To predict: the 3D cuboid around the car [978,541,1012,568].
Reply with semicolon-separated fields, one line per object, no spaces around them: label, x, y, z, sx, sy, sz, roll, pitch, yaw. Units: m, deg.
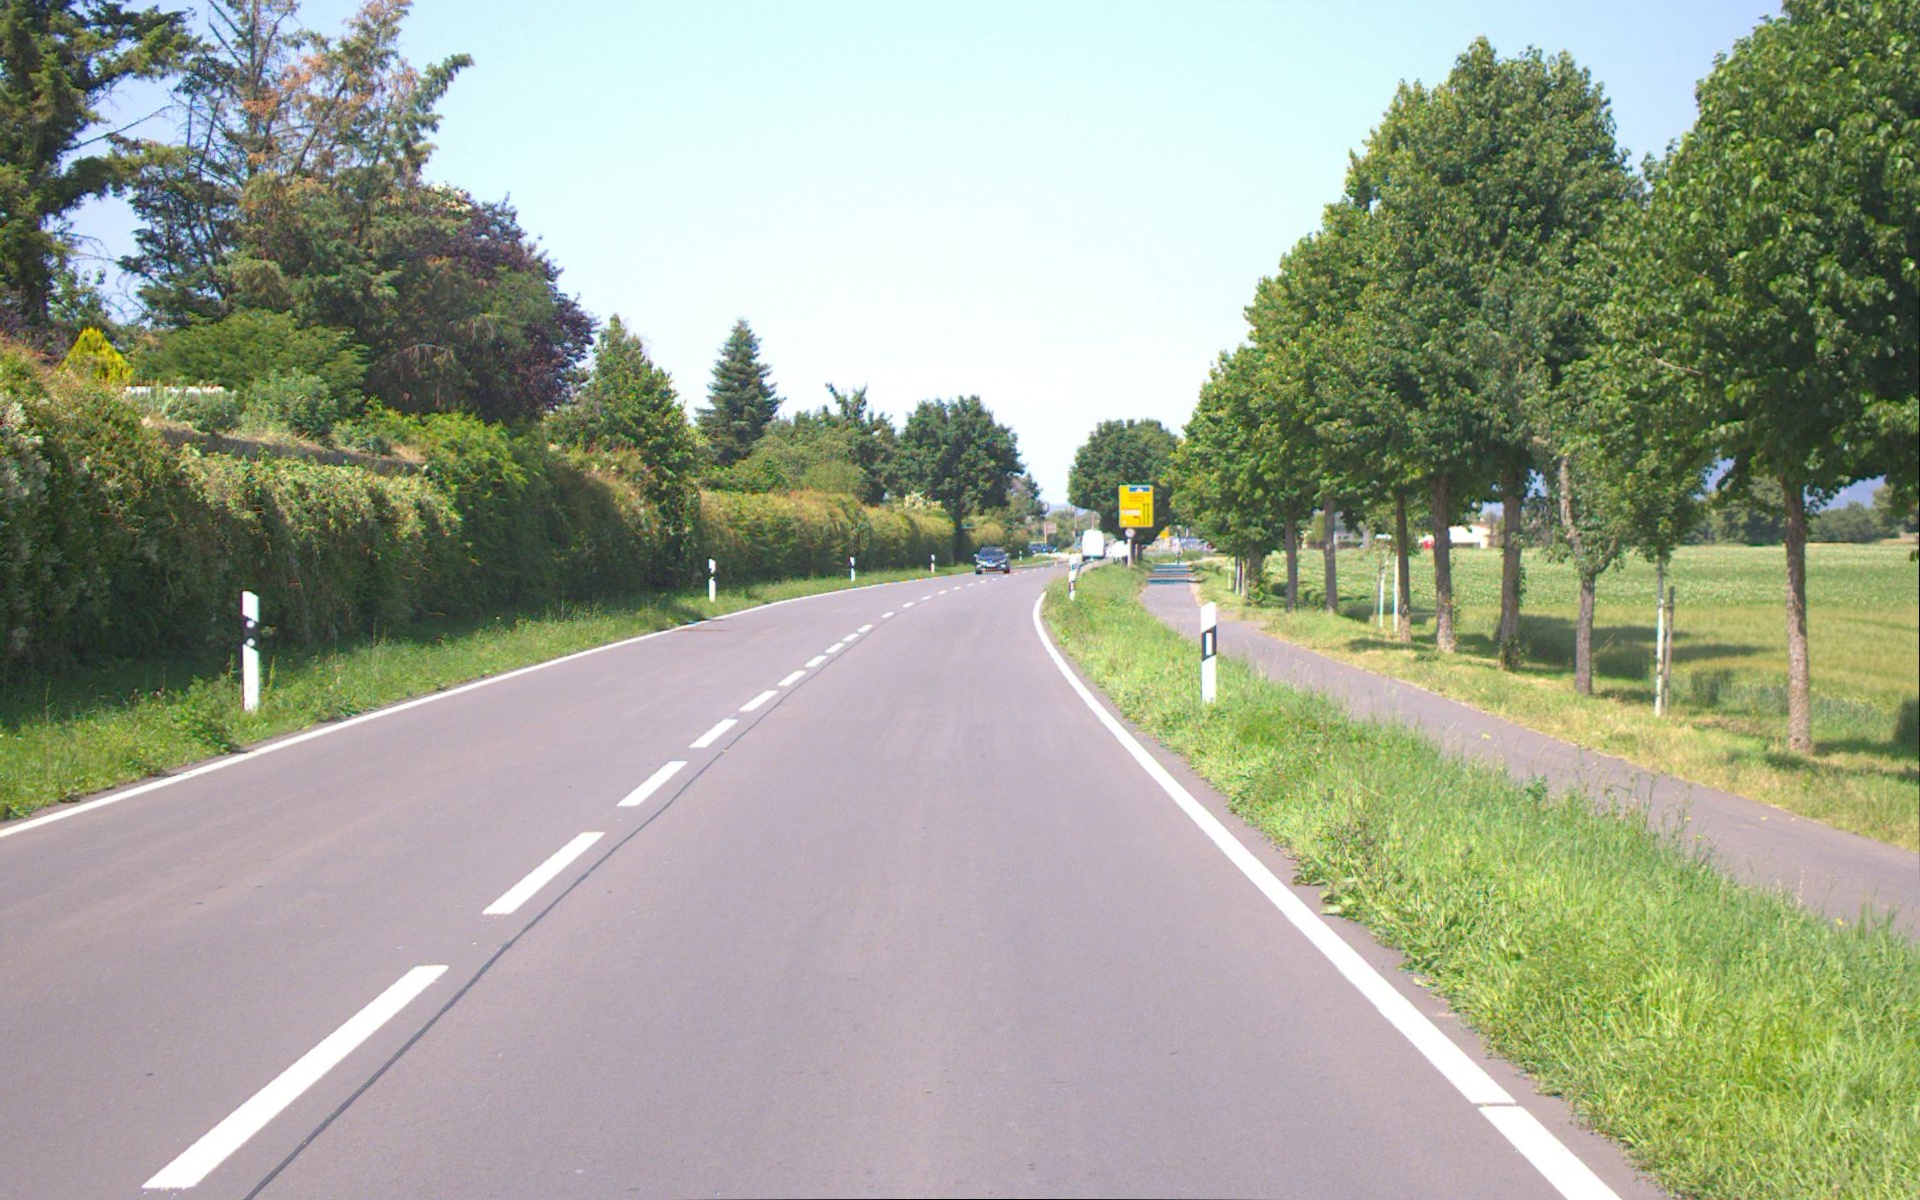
car;1.932;-2.547;190.256;1.840;1.462;3.933;0;1;0
